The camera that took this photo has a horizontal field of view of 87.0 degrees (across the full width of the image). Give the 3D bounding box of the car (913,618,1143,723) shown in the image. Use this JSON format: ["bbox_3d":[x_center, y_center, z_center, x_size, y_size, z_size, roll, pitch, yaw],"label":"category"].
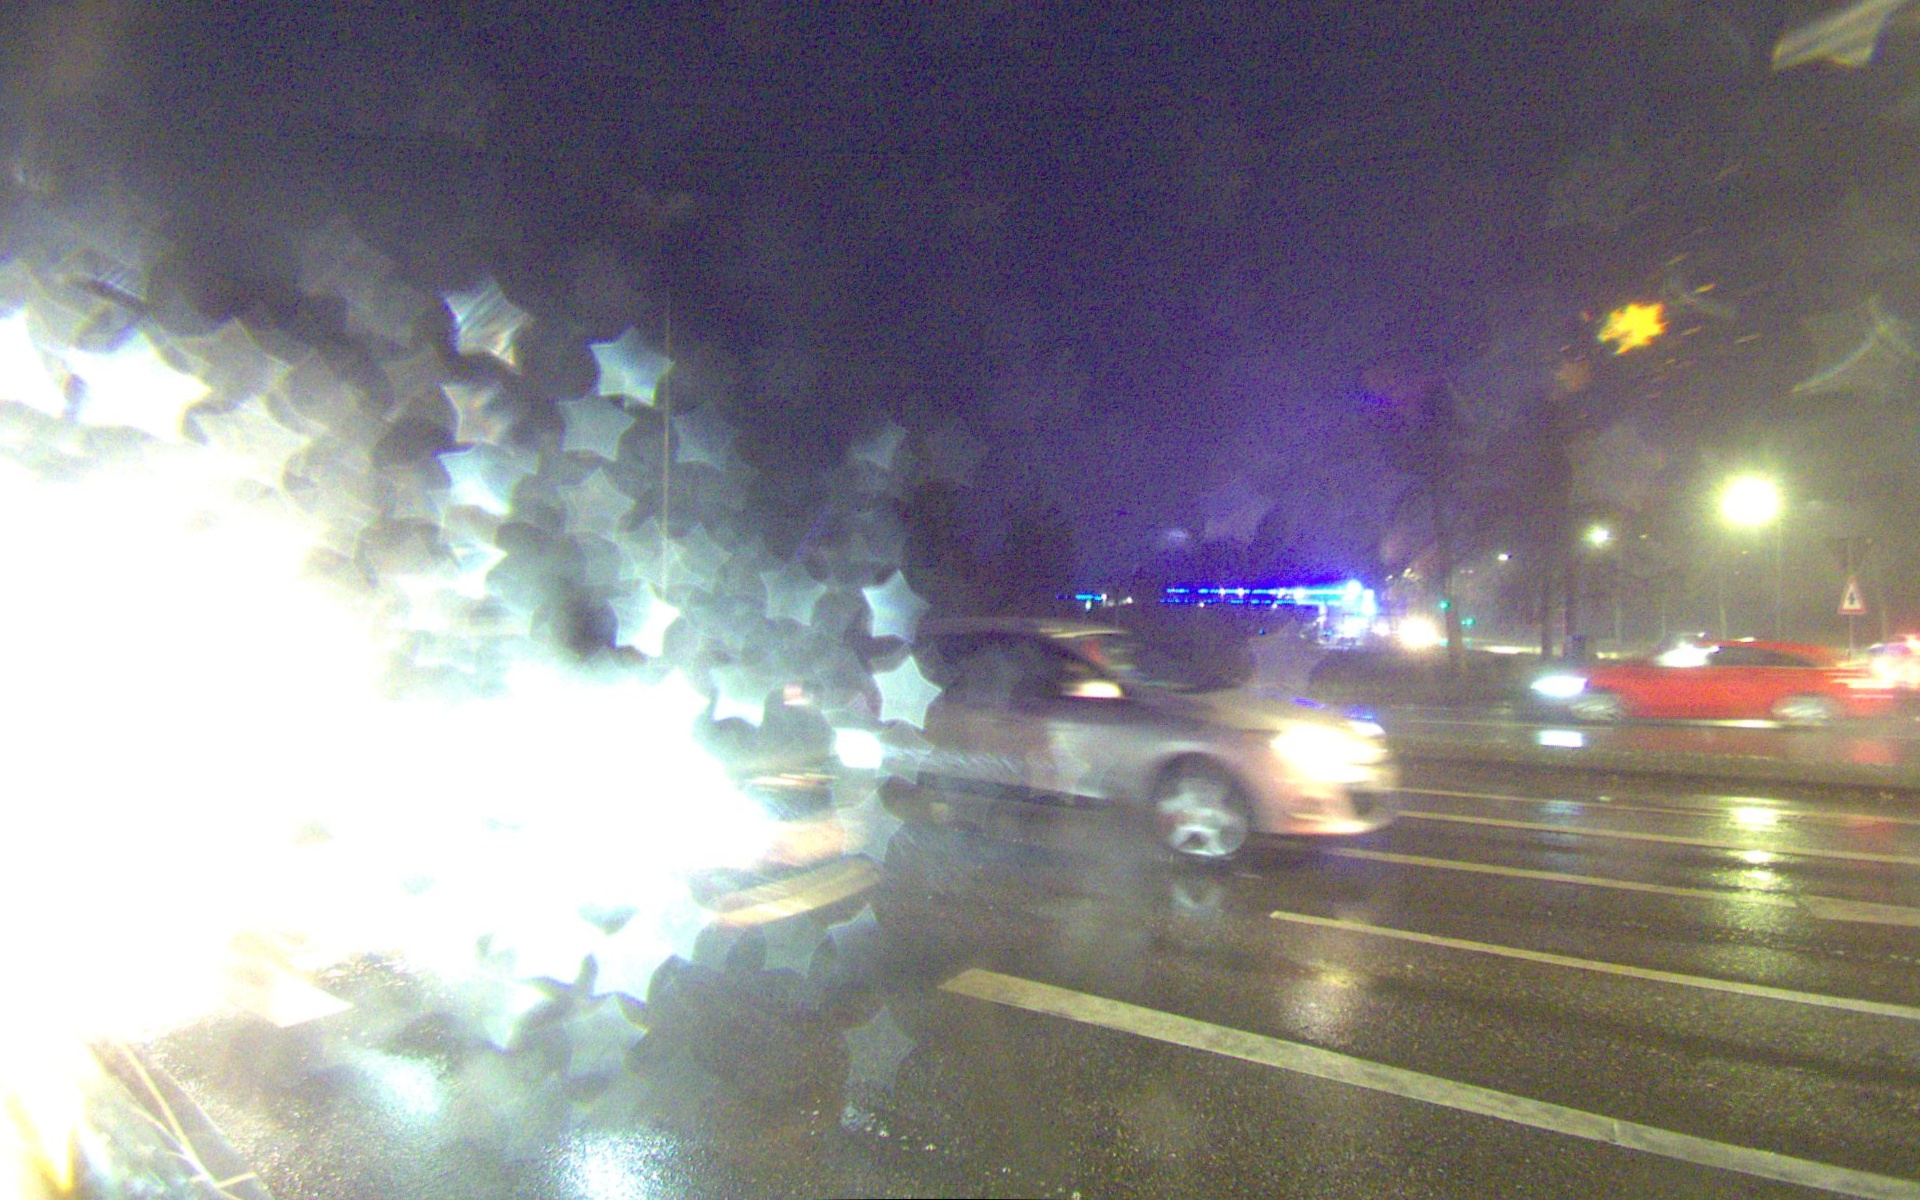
[{"bbox_3d":[1.302,1.306,20.192,4.200,1.848,1.975,-1,-1,37],"label":"car"}]

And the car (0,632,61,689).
[{"bbox_3d":[-27.277,1.686,29.039,4.172,1.456,1.658,-1,-1,41],"label":"car"}]

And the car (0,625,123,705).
[{"bbox_3d":[-20.915,1.419,23.259,4.233,1.607,1.766,0,-1,39],"label":"car"}]

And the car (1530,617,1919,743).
[{"bbox_3d":[12.109,1.230,16.533,4.764,1.806,2.016,-2,-2,29],"label":"car"}]

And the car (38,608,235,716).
[{"bbox_3d":[-15.744,1.065,19.258,4.716,1.807,1.974,-1,-1,39],"label":"car"}]

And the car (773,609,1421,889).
[{"bbox_3d":[0.814,0.803,7.218,4.280,1.447,1.722,-1,0,35],"label":"car"}]

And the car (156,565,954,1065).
[{"bbox_3d":[-2.194,0.704,5.138,4.012,1.603,1.835,0,0,34],"label":"car"}]

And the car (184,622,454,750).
[{"bbox_3d":[-8.593,1.052,13.446,4.116,1.418,1.812,-2,-2,39],"label":"car"}]

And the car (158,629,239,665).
[{"bbox_3d":[-33.842,2.069,44.932,4.465,1.447,1.721,-1,0,37],"label":"car"}]

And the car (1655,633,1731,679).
[{"bbox_3d":[36.721,2.746,50.813,1.647,2.095,3.983,-1,0,13],"label":"car"}]
